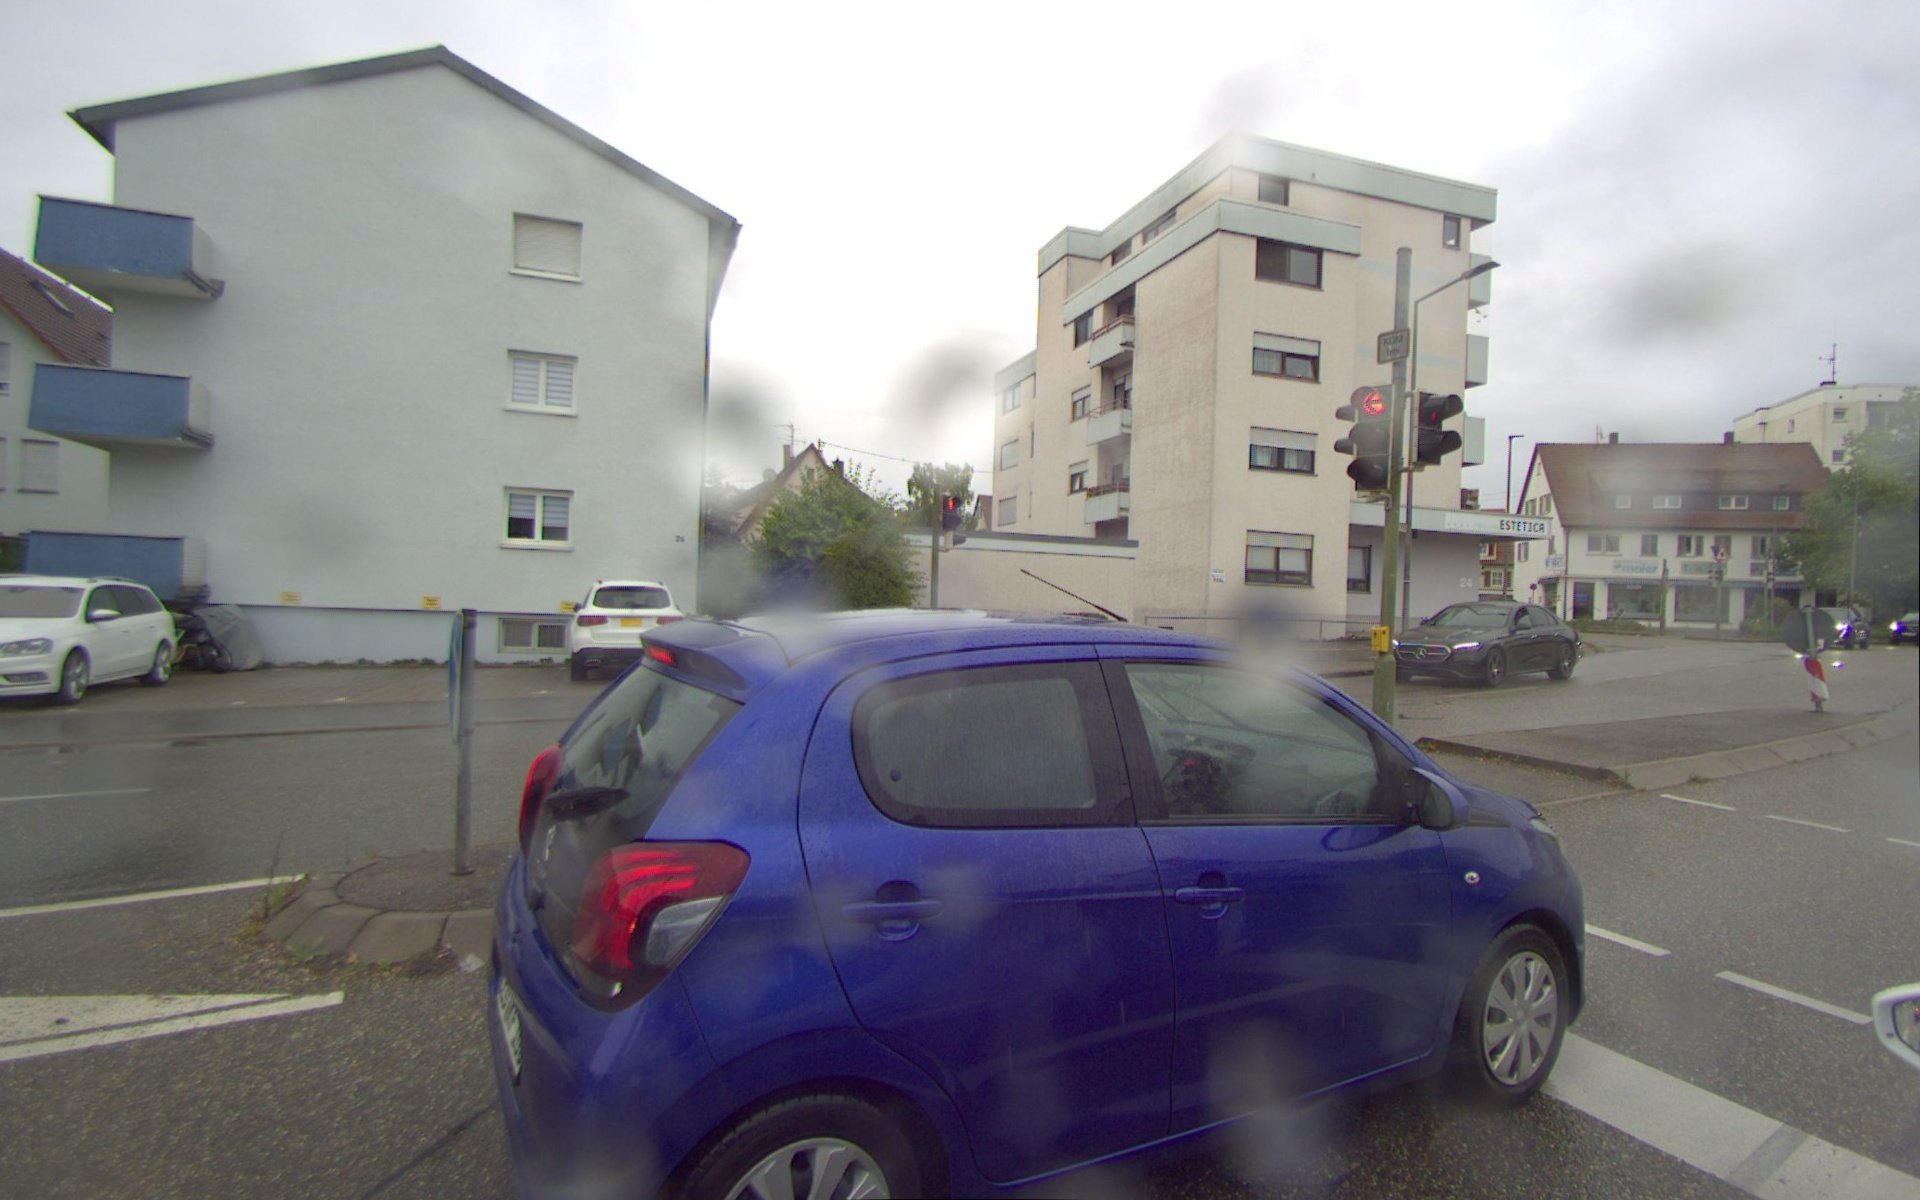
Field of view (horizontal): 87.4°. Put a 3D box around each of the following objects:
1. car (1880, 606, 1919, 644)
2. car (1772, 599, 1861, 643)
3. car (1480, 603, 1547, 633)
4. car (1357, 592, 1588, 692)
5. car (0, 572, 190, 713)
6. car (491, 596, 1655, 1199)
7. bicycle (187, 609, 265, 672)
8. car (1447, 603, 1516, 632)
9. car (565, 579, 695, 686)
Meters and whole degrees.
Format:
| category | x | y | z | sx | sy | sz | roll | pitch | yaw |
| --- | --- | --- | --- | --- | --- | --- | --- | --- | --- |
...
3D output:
| category | x | y | z | sx | sy | sz | roll | pitch | yaw |
| --- | --- | --- | --- | --- | --- | --- | --- | --- | --- |
| car | 43.644 | 1.168 | 45.475 | 4.138 | 1.618 | 1.869 | 2 | 0 | -32 |
| car | 32.203 | 0.794 | 37.739 | 3.969 | 1.532 | 1.950 | 2 | 0 | -41 |
| car | 37.913 | 1.239 | 68.880 | 3.611 | 1.946 | 1.889 | 2 | 0 | 14 |
| car | 9.646 | 0.756 | 18.796 | 4.494 | 1.646 | 1.980 | 2 | 0 | -35 |
| car | -11.495 | 0.454 | 12.496 | 1.854 | 1.480 | 4.732 | 1 | -1 | -23 |
| car | 0.453 | 0.739 | 3.089 | 3.324 | 1.432 | 1.498 | 1 | 1 | -30 |
| bicycle | -12.708 | 0.687 | 17.411 | 1.053 | 1.067 | 0.345 | 0 | 1 | -30 |
| car | 37.206 | 1.245 | 71.710 | 3.987 | 1.868 | 1.889 | 2 | 0 | 14 |
| car | -5.777 | 0.508 | 17.565 | 1.884 | 1.637 | 3.983 | 2 | 0 | -19 |
